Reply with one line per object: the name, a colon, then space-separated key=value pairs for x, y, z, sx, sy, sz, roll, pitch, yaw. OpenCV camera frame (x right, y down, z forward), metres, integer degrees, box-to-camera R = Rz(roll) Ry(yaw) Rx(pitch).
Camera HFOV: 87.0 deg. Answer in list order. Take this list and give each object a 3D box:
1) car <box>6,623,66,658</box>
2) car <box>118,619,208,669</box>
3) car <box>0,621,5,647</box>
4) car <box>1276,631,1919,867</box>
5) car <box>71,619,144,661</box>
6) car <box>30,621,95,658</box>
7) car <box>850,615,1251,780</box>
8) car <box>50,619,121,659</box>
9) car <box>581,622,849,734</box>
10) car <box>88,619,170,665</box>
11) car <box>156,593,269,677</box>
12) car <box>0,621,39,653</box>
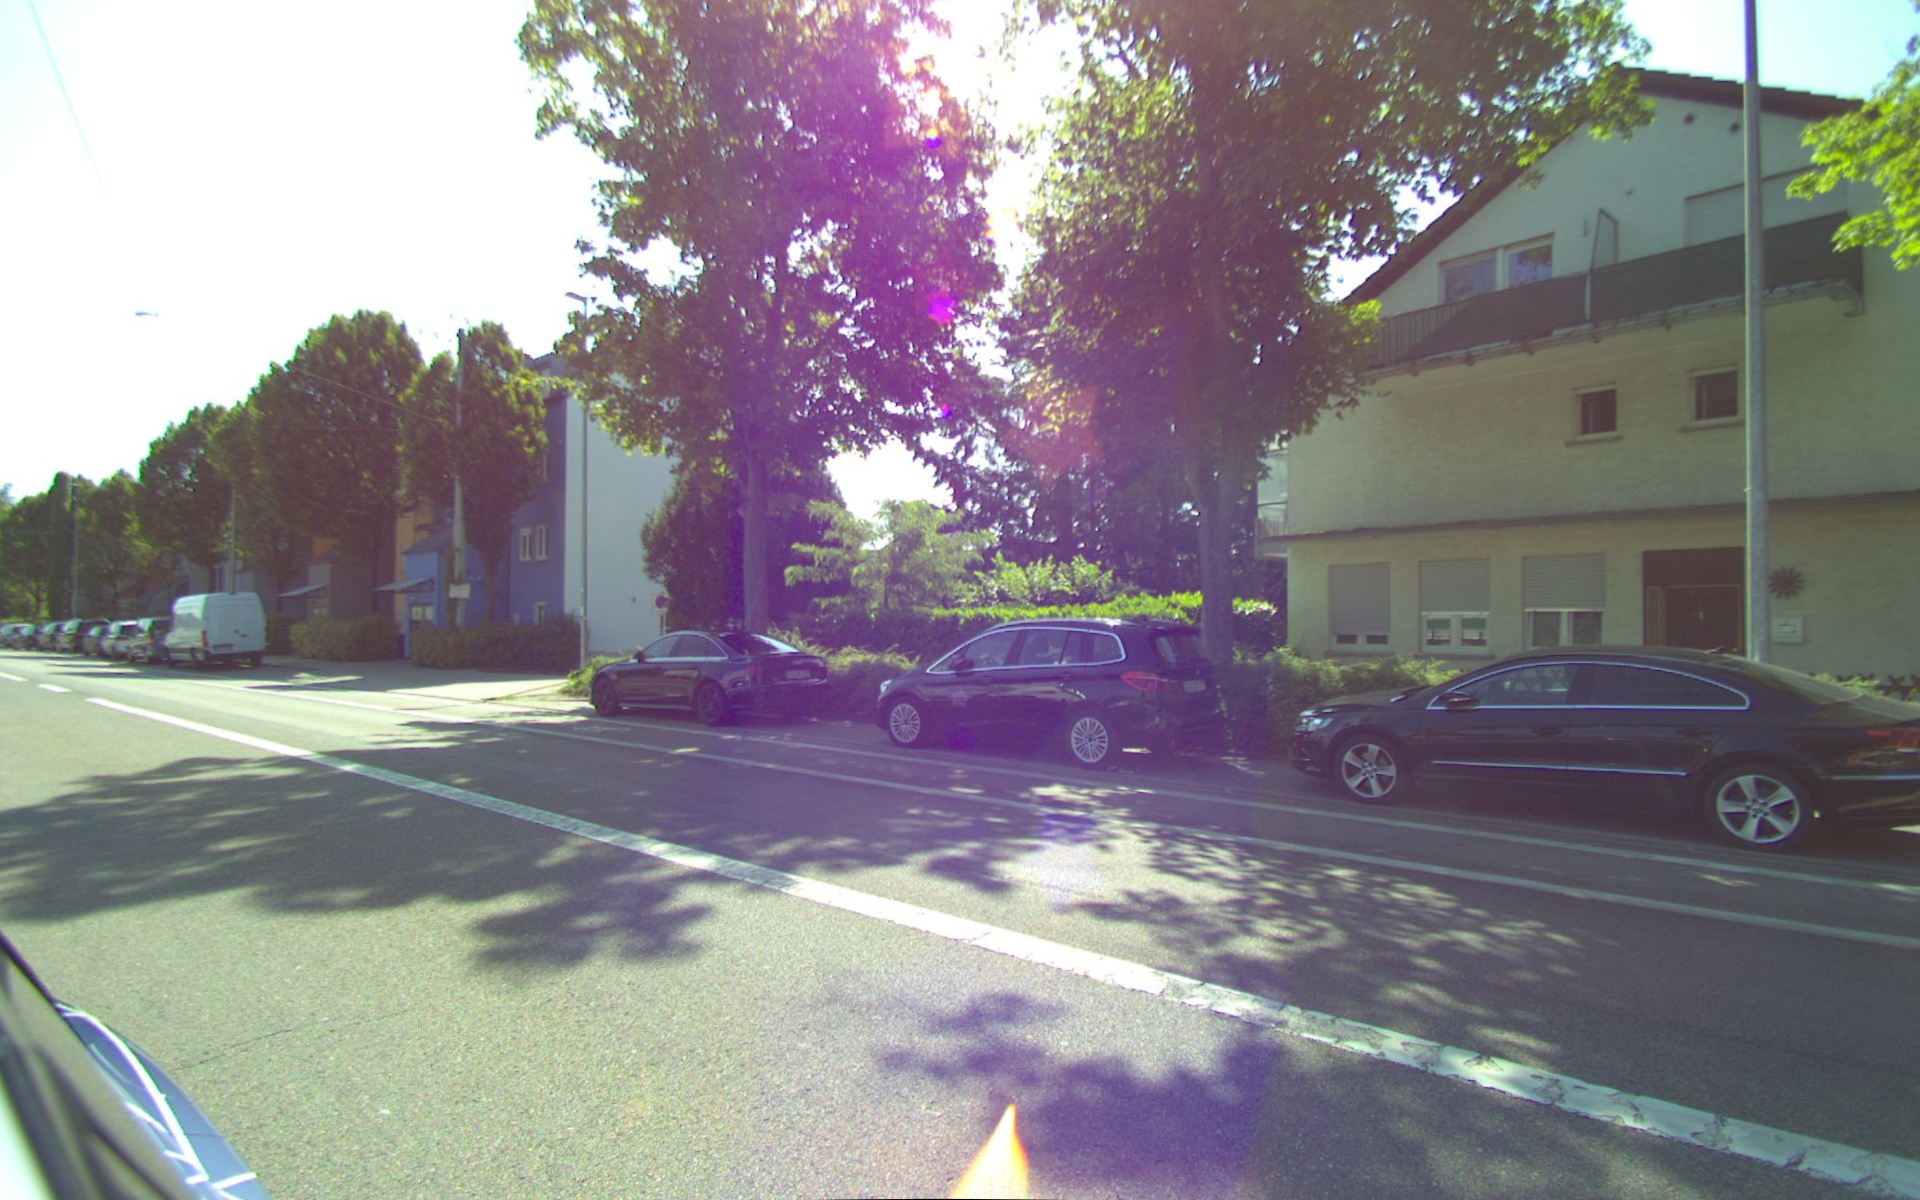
car: x=-54.905 y=2.373 z=60.102 sx=4.766 sy=1.818 sz=1.974 roll=-2 pitch=4 yaw=41
car: x=-33.519 y=1.808 z=42.504 sx=4.766 sy=1.818 sz=1.974 roll=-2 pitch=4 yaw=41
car: x=-68.815 y=2.494 z=71.002 sx=4.766 sy=1.818 sz=1.974 roll=-2 pitch=4 yaw=41
car: x=5.237 y=1.011 z=8.424 sx=4.619 sy=1.426 sz=1.844 roll=-1 pitch=0 yaw=41
car: x=-42.125 y=1.955 z=49.995 sx=4.254 sy=1.818 sz=1.974 roll=-2 pitch=4 yaw=41
car: x=-50.256 y=2.192 z=56.648 sx=4.766 sy=1.818 sz=1.974 roll=-2 pitch=4 yaw=41
car: x=0.930 y=1.017 z=12.242 sx=4.619 sy=1.583 sz=1.844 roll=-1 pitch=0 yaw=41
car: x=-45.850 y=2.012 z=53.035 sx=4.766 sy=1.818 sz=1.974 roll=-2 pitch=4 yaw=41
car: x=-4.084 y=1.155 z=16.509 sx=4.616 sy=1.583 sz=1.845 roll=-1 pitch=-2 yaw=39
car: x=-38.069 y=1.875 z=46.305 sx=4.766 sy=1.818 sz=1.974 roll=-2 pitch=4 yaw=41
car: x=-27.372 y=1.237 z=36.954 sx=6.213 sy=2.713 sz=1.973 roll=-2 pitch=4 yaw=43
car: x=-60.265 y=2.350 z=64.203 sx=4.766 sy=1.818 sz=1.974 roll=-2 pitch=4 yaw=41
